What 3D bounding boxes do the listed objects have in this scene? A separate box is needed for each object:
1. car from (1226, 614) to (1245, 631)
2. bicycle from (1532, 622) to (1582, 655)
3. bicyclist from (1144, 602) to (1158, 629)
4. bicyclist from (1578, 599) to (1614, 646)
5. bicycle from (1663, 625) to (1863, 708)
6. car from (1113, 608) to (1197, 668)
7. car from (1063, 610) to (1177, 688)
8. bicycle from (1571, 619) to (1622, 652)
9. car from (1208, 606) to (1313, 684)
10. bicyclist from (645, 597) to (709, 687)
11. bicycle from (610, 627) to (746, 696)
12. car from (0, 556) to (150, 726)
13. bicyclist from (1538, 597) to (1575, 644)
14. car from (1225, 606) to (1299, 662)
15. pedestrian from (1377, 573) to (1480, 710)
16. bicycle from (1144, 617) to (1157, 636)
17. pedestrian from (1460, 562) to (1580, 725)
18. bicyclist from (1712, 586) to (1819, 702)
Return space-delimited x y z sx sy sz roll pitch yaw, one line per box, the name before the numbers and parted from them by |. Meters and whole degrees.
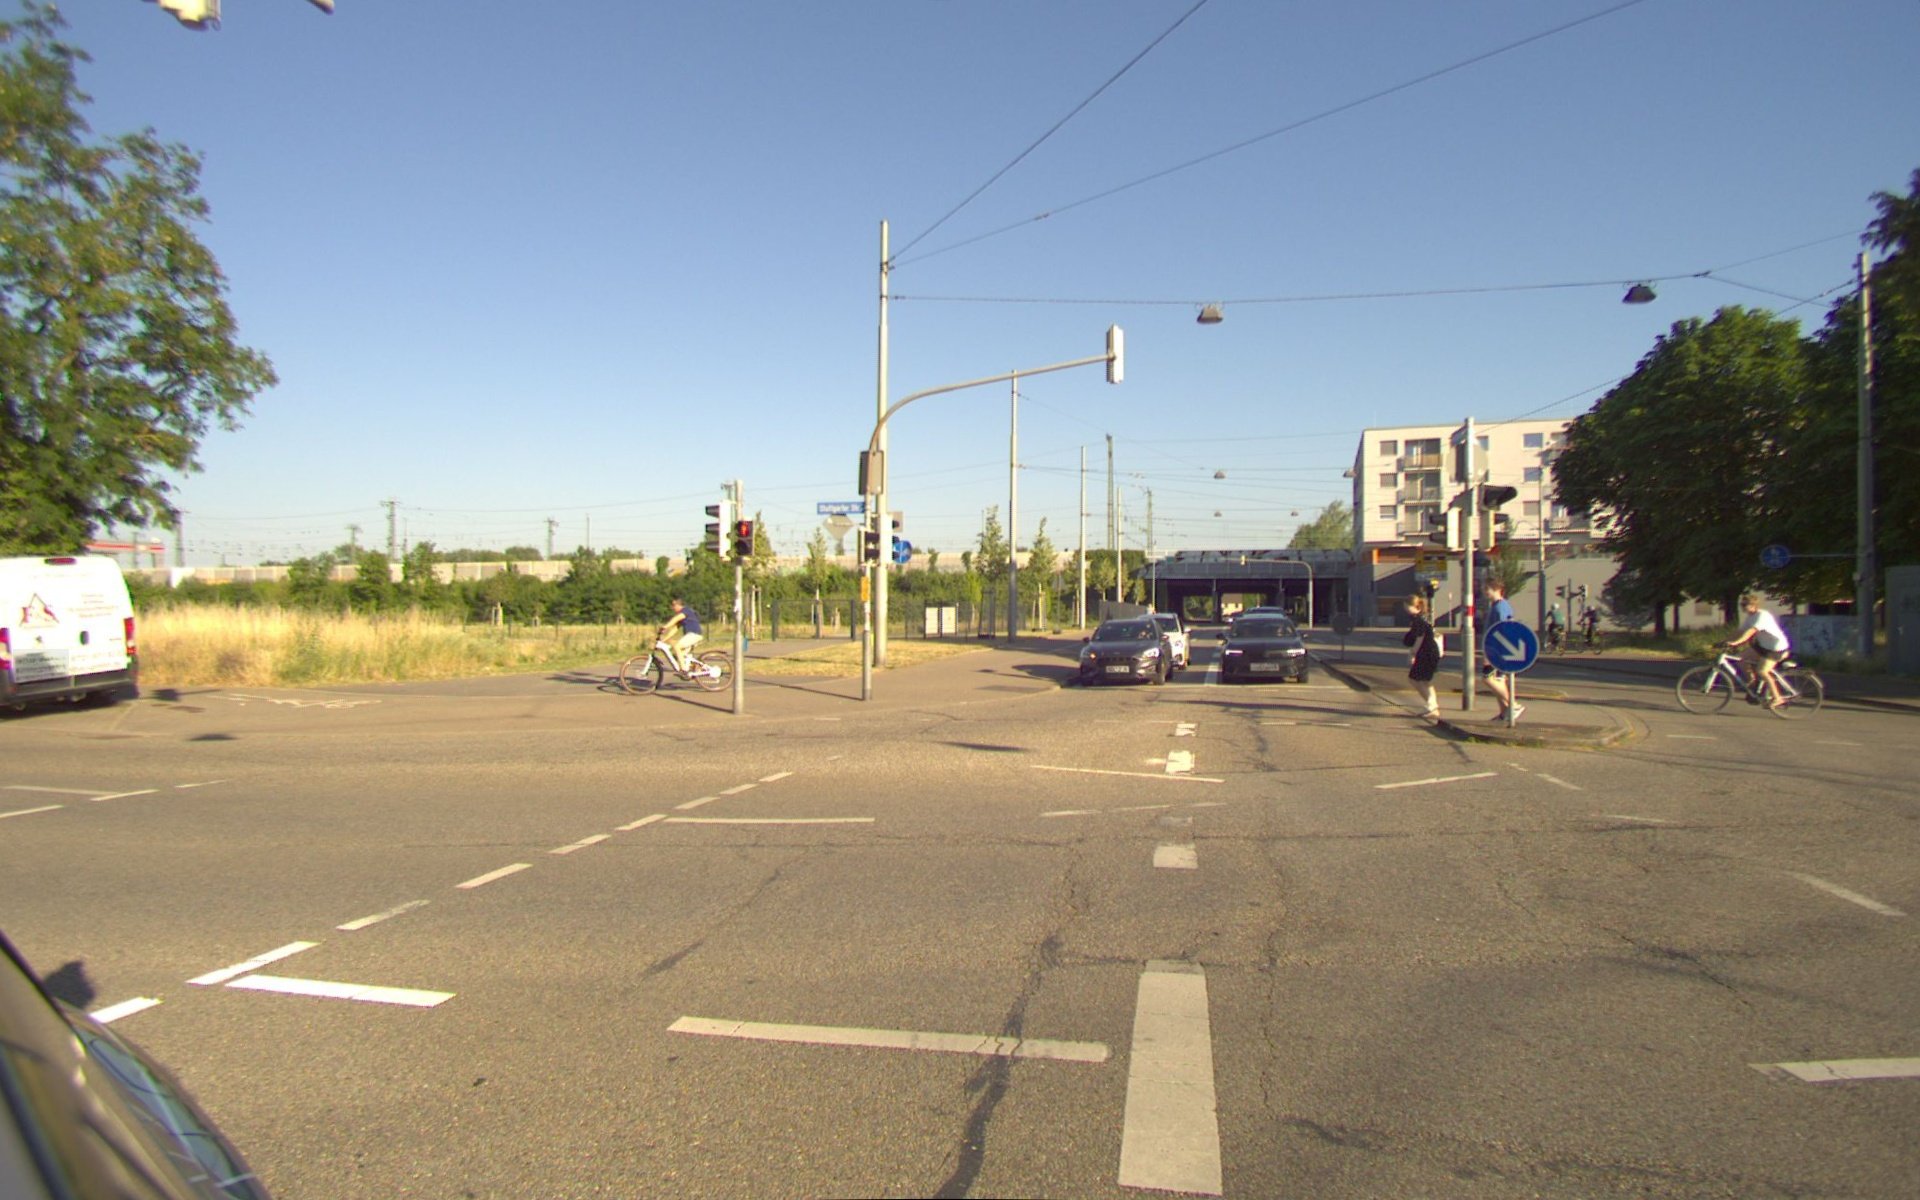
car | 30.111 2.436 110.451 1.982 1.716 3.979 0 -1 16
bicycle | 20.138 1.286 34.190 0.655 1.077 2.016 0 -1 5
bicyclist | 11.378 0.935 60.374 0.770 1.618 0.853 0 -1 15
bicyclist | 21.516 0.751 34.259 0.653 1.543 1.035 0 -1 7
bicycle | 11.797 0.950 14.963 2.185 1.151 0.695 0 -1 21
car | 5.694 1.037 29.246 1.983 1.579 4.252 0 -1 17
car | 3.696 1.037 22.809 1.983 1.579 4.252 -1 -1 17
bicycle | 21.545 1.179 34.294 0.655 1.077 2.015 0 -1 7
car | 6.796 0.929 22.786 2.037 1.579 4.424 0 -1 18
bicyclist | -5.094 0.733 18.186 1.004 1.559 0.855 0 -1 -23
bicycle | -5.038 1.072 18.115 2.252 1.158 0.795 0 -1 -24
car | -16.357 0.566 16.303 5.506 2.454 2.227 0 2 14
bicyclist | 20.148 0.694 34.196 0.689 1.543 1.036 0 -1 4
car | 9.119 0.970 30.611 1.983 1.579 4.432 0 -1 17
pedestrian | 6.261 0.546 13.591 1.056 1.760 0.911 0 -1 12
bicycle | 11.367 1.555 60.334 0.657 1.077 2.009 0 -1 15
pedestrian | 6.913 0.520 12.556 1.056 1.939 0.911 0 -1 12
bicyclist | 11.851 0.632 14.921 1.034 1.641 0.708 0 -1 21
